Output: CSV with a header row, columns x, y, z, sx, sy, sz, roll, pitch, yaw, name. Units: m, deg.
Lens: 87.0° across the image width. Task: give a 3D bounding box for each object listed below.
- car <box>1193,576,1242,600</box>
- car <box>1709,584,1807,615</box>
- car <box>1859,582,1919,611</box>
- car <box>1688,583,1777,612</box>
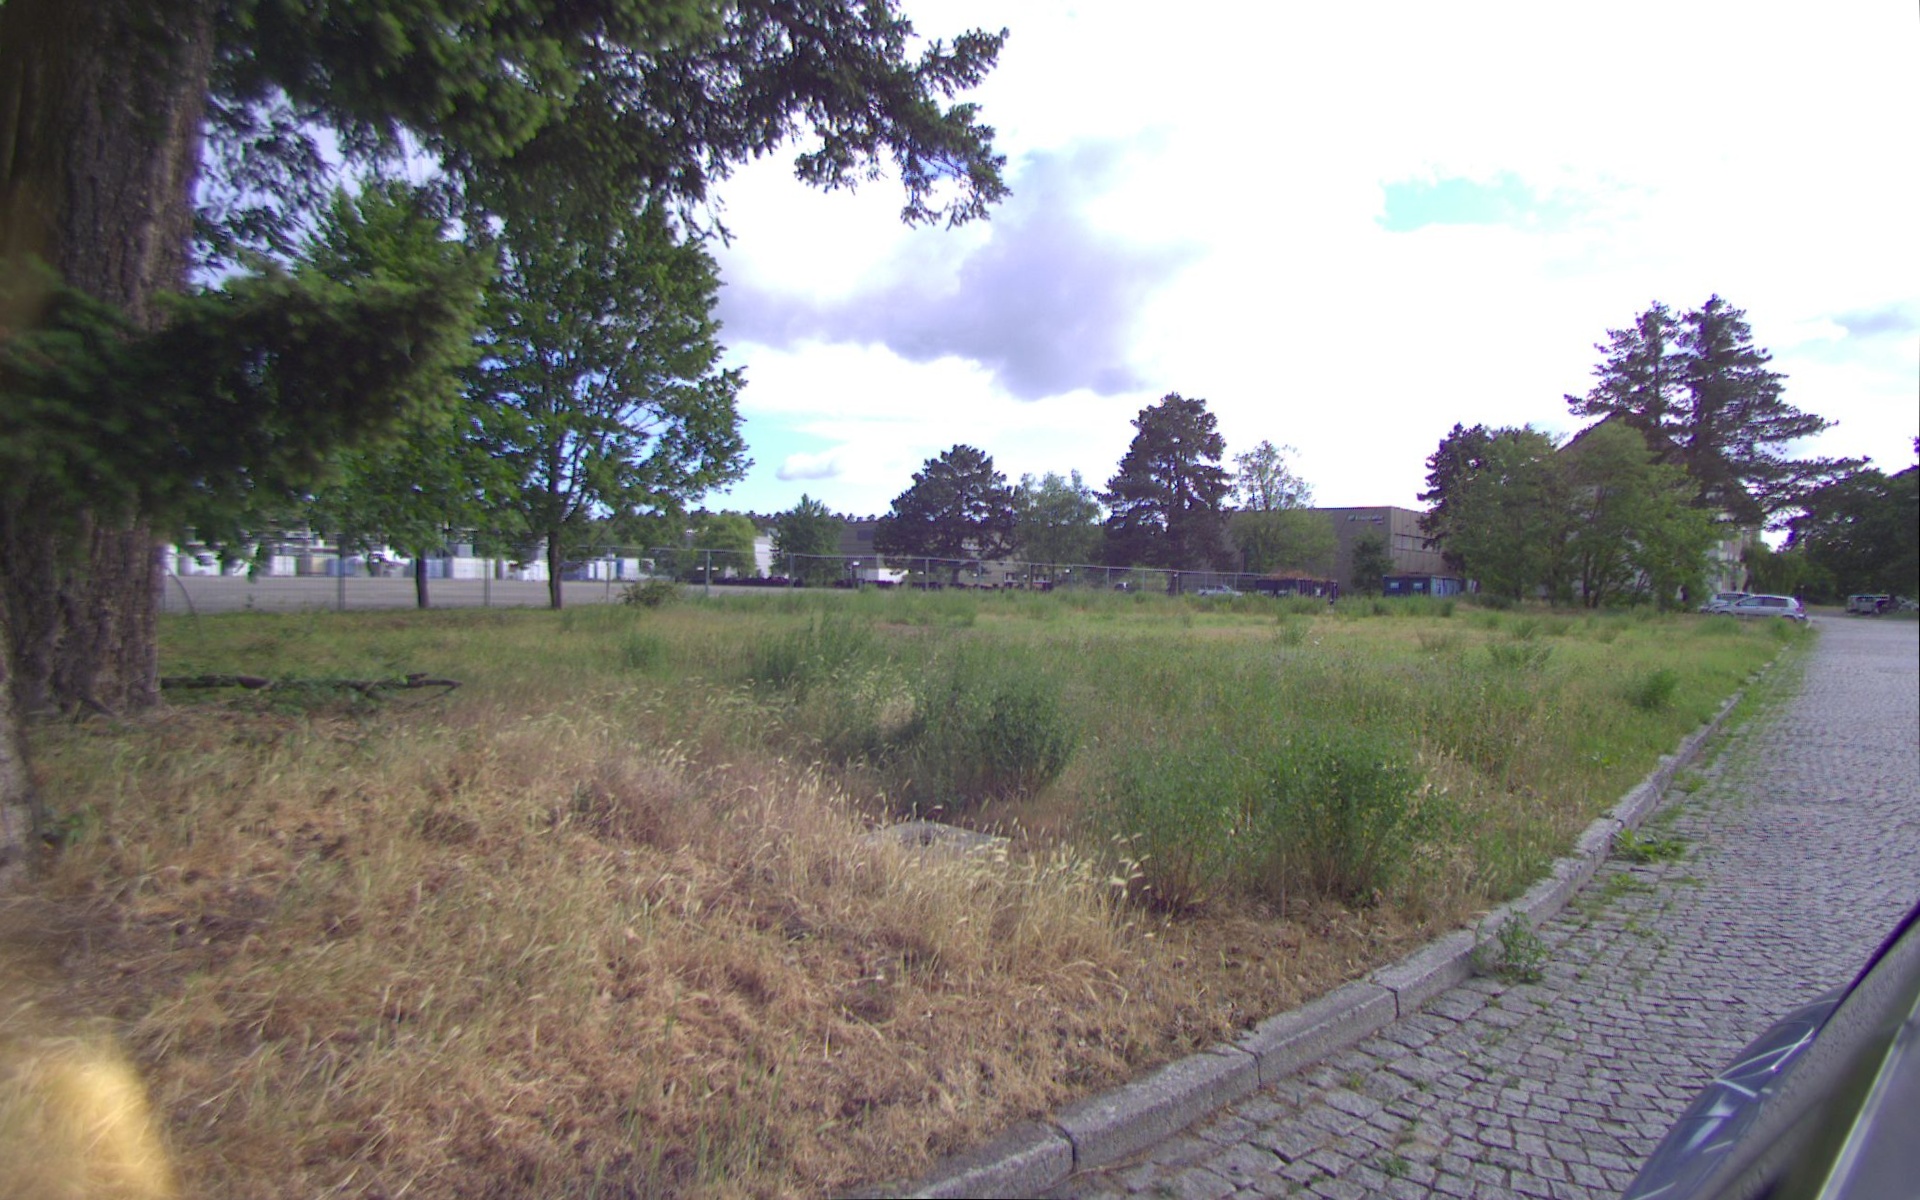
x,y,z,sx,sy,sz,roll,pitch,yaw,name
22.331,-1.005,87.831,3.700,1.928,1.999,2,0,1,car
39.179,-0.020,49.769,3.712,1.456,1.604,-1,1,39,car
88.719,-0.350,95.317,5.764,2.595,2.734,-2,0,37,car
41.685,-0.121,54.688,3.706,1.456,1.607,-1,0,35,car
